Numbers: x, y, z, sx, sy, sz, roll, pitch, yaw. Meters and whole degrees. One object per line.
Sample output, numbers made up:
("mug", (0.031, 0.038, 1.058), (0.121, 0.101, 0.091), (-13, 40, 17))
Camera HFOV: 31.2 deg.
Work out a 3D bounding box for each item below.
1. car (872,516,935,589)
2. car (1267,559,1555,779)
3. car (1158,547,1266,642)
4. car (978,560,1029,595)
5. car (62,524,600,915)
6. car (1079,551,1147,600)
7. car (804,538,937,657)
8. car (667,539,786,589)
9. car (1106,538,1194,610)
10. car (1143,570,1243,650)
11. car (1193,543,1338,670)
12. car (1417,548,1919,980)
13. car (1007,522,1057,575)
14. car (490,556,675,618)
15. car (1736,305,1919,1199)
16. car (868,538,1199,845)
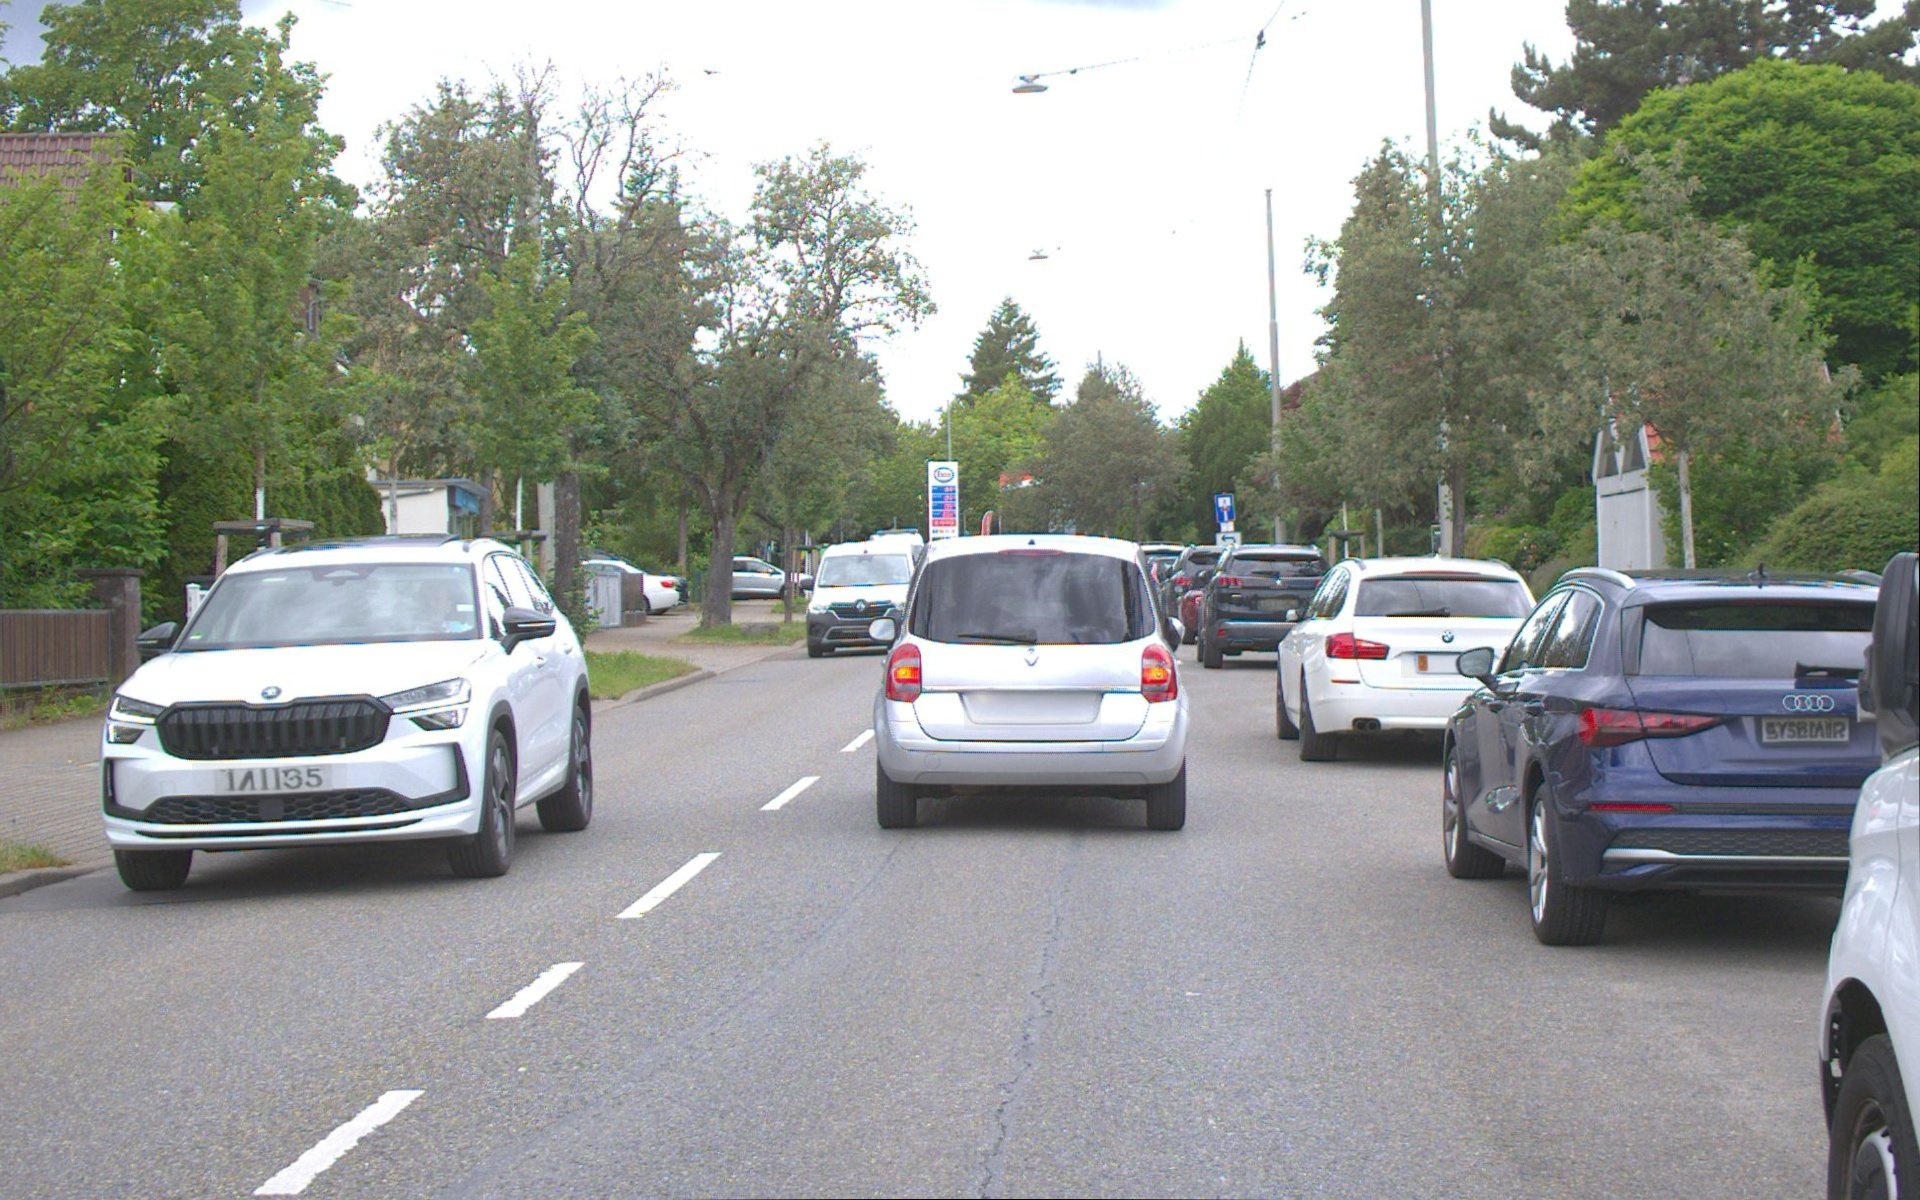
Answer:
("car", (-2.085, -1.768, 128.717), (2.073, 2.574, 5.300), (-3, 1, 1))
("car", (3.269, 0.442, 25.632), (1.693, 1.448, 4.404), (1, 1, 2))
("car", (4.660, -0.138, 63.986), (1.830, 1.706, 4.549), (0, 1, 2))
("car", (1.883, -0.980, 149.747), (1.695, 1.501, 3.973), (-1, 1, -7))
("car", (-3.062, 0.508, 17.687), (1.814, 1.687, 4.466), (-2, 1, 1))
("car", (4.554, -0.739, 102.786), (1.626, 1.447, 3.876), (0, 1, -4))
("car", (-1.382, -0.075, 54.603), (1.795, 1.746, 4.298), (-2, 1, 2))
("car", (-8.087, -1.241, 119.228), (4.086, 1.700, 1.748), (0, 1, -3))
("car", (4.803, -0.684, 87.641), (1.799, 1.772, 4.705), (1, 1, -2))
("car", (3.845, 0.144, 57.156), (1.481, 1.232, 3.884), (1, 1, 1))
("car", (4.022, 0.054, 45.719), (1.688, 1.603, 4.109), (0, 1, 2))
("car", (3.004, 0.547, 14.240), (1.665, 1.511, 4.221), (0, 1, 0))
("car", (4.069, -2.908, 195.111), (2.281, 2.901, 5.280), (1, 1, -4))
("car", (-8.909, -0.319, 81.454), (4.277, 1.363, 1.816), (1, 0, -5))
("car", (2.452, 0.502, 4.653), (1.775, 1.937, 4.789), (0, 1, 1))
("car", (0.435, 0.449, 19.350), (1.679, 1.554, 3.511), (1, 1, 2))
